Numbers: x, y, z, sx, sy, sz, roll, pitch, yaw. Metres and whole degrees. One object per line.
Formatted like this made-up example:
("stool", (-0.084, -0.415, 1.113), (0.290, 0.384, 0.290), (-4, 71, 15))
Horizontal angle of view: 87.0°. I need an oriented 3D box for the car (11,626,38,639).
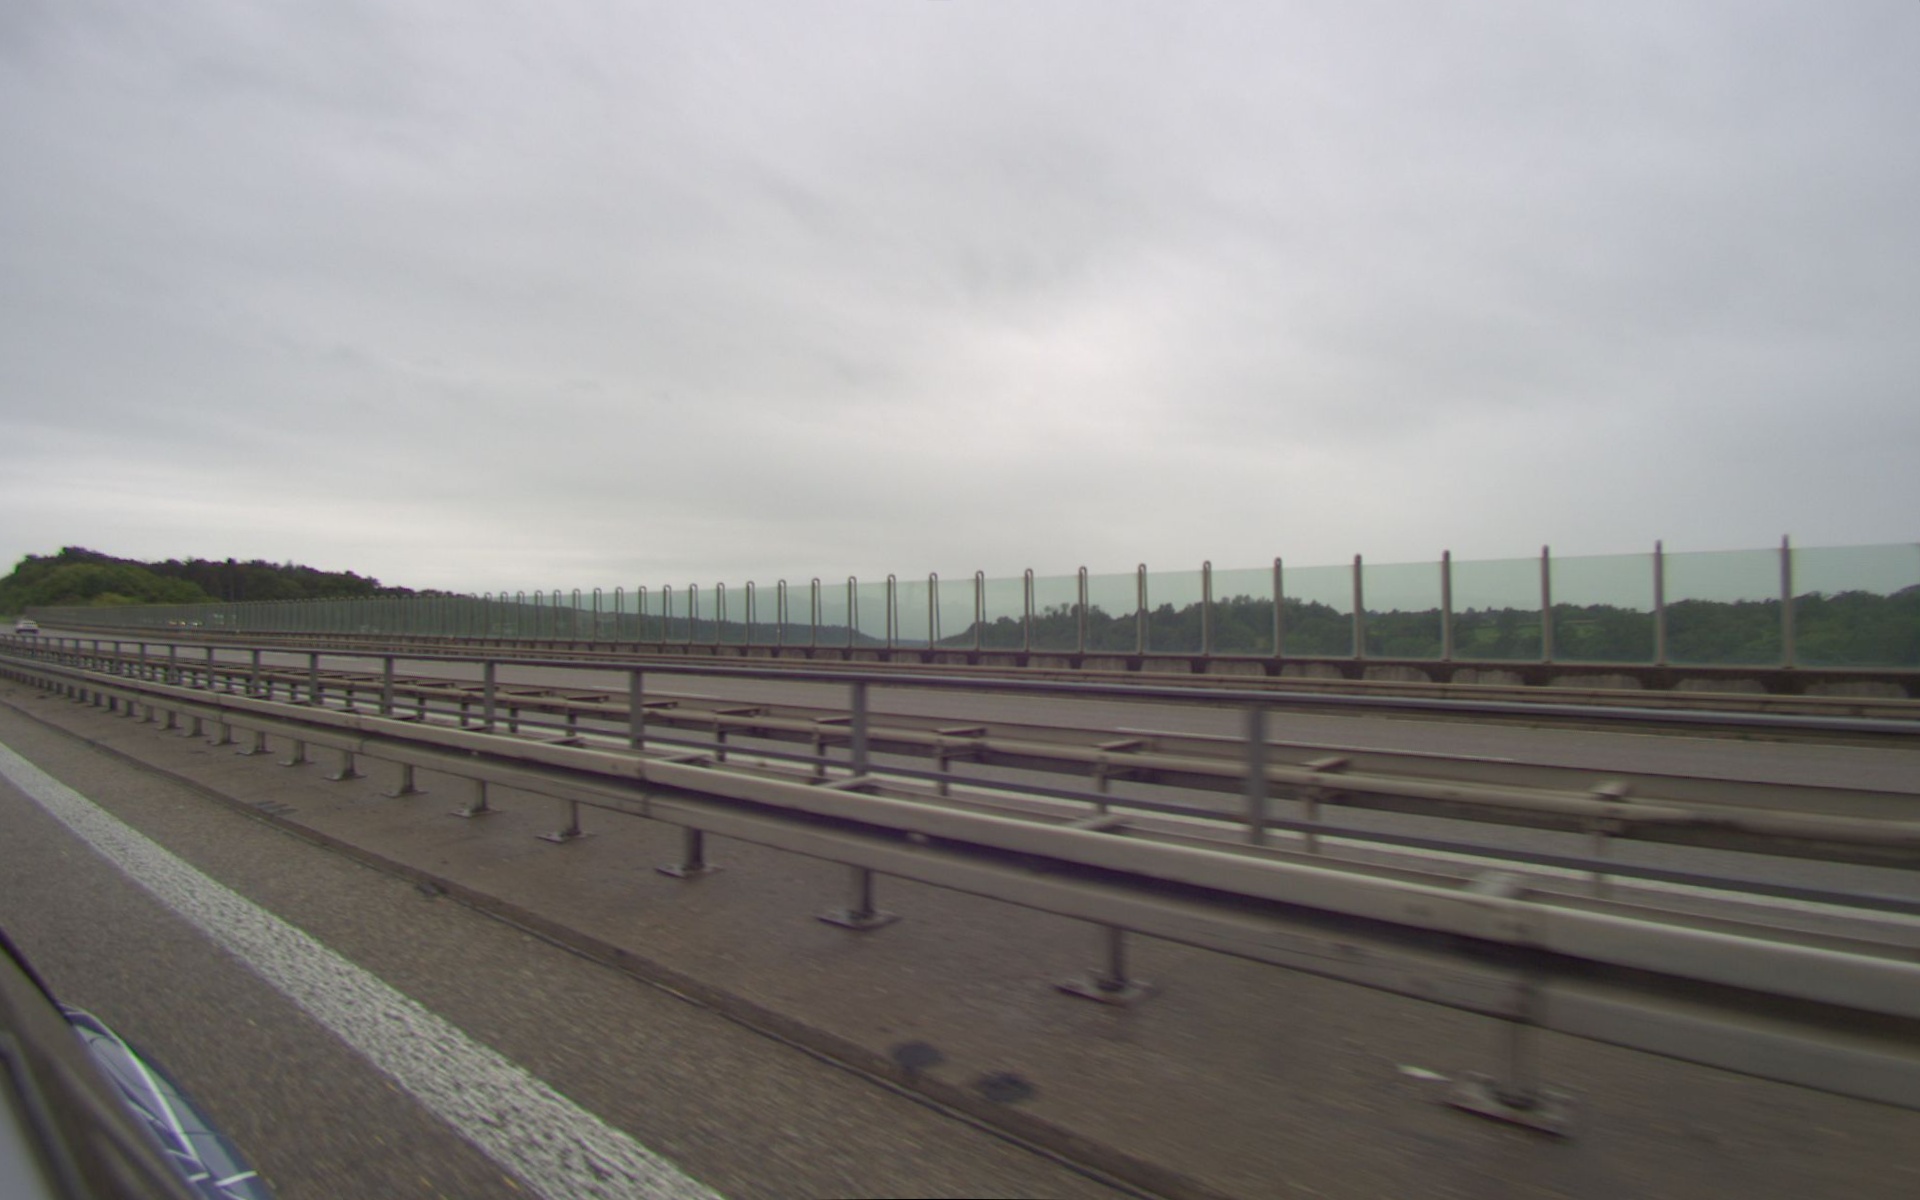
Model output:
("car", (-117.510, 4.047, 127.137), (4.711, 1.642, 1.972), (-1, -2, 41))
